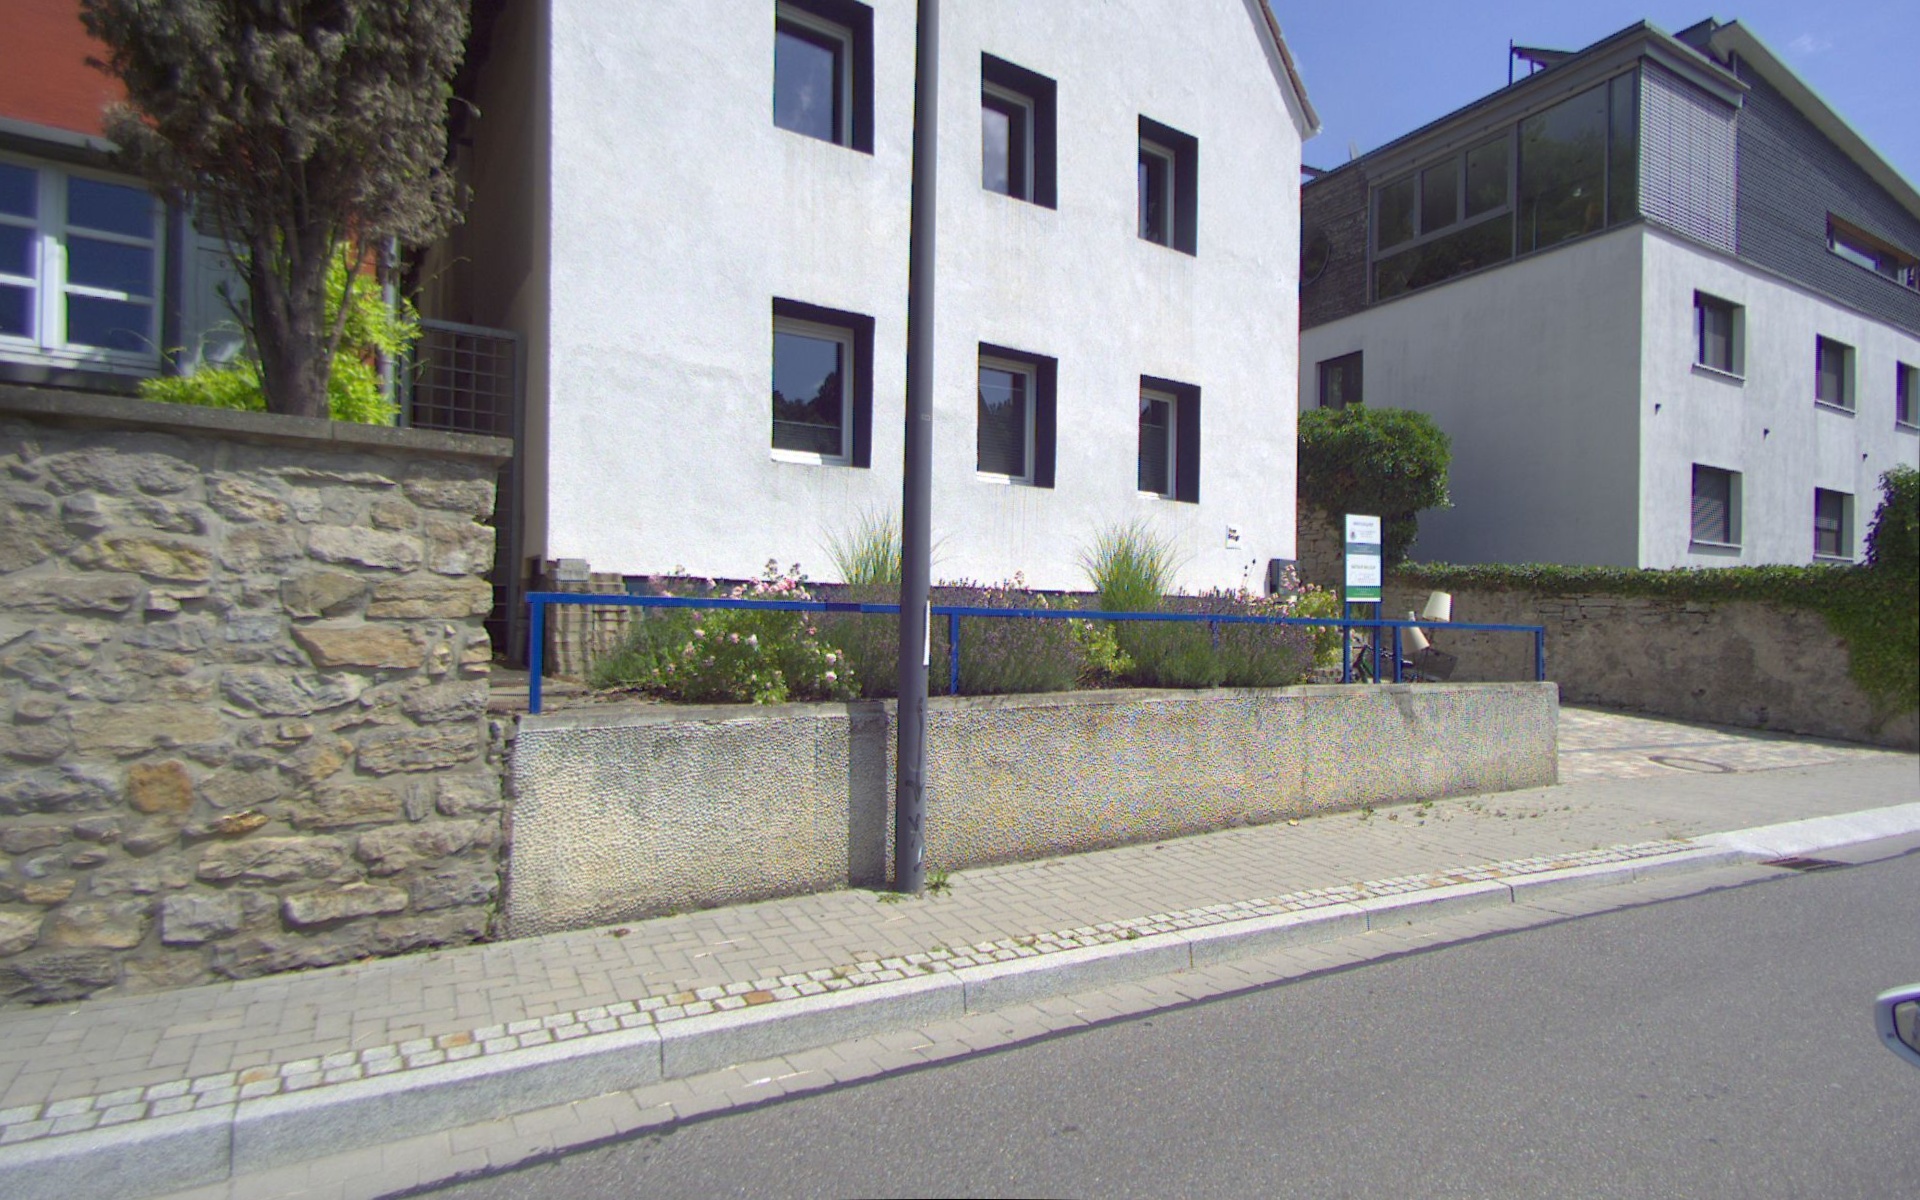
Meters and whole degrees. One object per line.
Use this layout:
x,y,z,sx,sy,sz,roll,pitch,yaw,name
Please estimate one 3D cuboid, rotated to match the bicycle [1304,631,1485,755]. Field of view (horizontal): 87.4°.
3.865,0.825,8.924,1.518,0.985,0.506,3,4,-24,bicycle
